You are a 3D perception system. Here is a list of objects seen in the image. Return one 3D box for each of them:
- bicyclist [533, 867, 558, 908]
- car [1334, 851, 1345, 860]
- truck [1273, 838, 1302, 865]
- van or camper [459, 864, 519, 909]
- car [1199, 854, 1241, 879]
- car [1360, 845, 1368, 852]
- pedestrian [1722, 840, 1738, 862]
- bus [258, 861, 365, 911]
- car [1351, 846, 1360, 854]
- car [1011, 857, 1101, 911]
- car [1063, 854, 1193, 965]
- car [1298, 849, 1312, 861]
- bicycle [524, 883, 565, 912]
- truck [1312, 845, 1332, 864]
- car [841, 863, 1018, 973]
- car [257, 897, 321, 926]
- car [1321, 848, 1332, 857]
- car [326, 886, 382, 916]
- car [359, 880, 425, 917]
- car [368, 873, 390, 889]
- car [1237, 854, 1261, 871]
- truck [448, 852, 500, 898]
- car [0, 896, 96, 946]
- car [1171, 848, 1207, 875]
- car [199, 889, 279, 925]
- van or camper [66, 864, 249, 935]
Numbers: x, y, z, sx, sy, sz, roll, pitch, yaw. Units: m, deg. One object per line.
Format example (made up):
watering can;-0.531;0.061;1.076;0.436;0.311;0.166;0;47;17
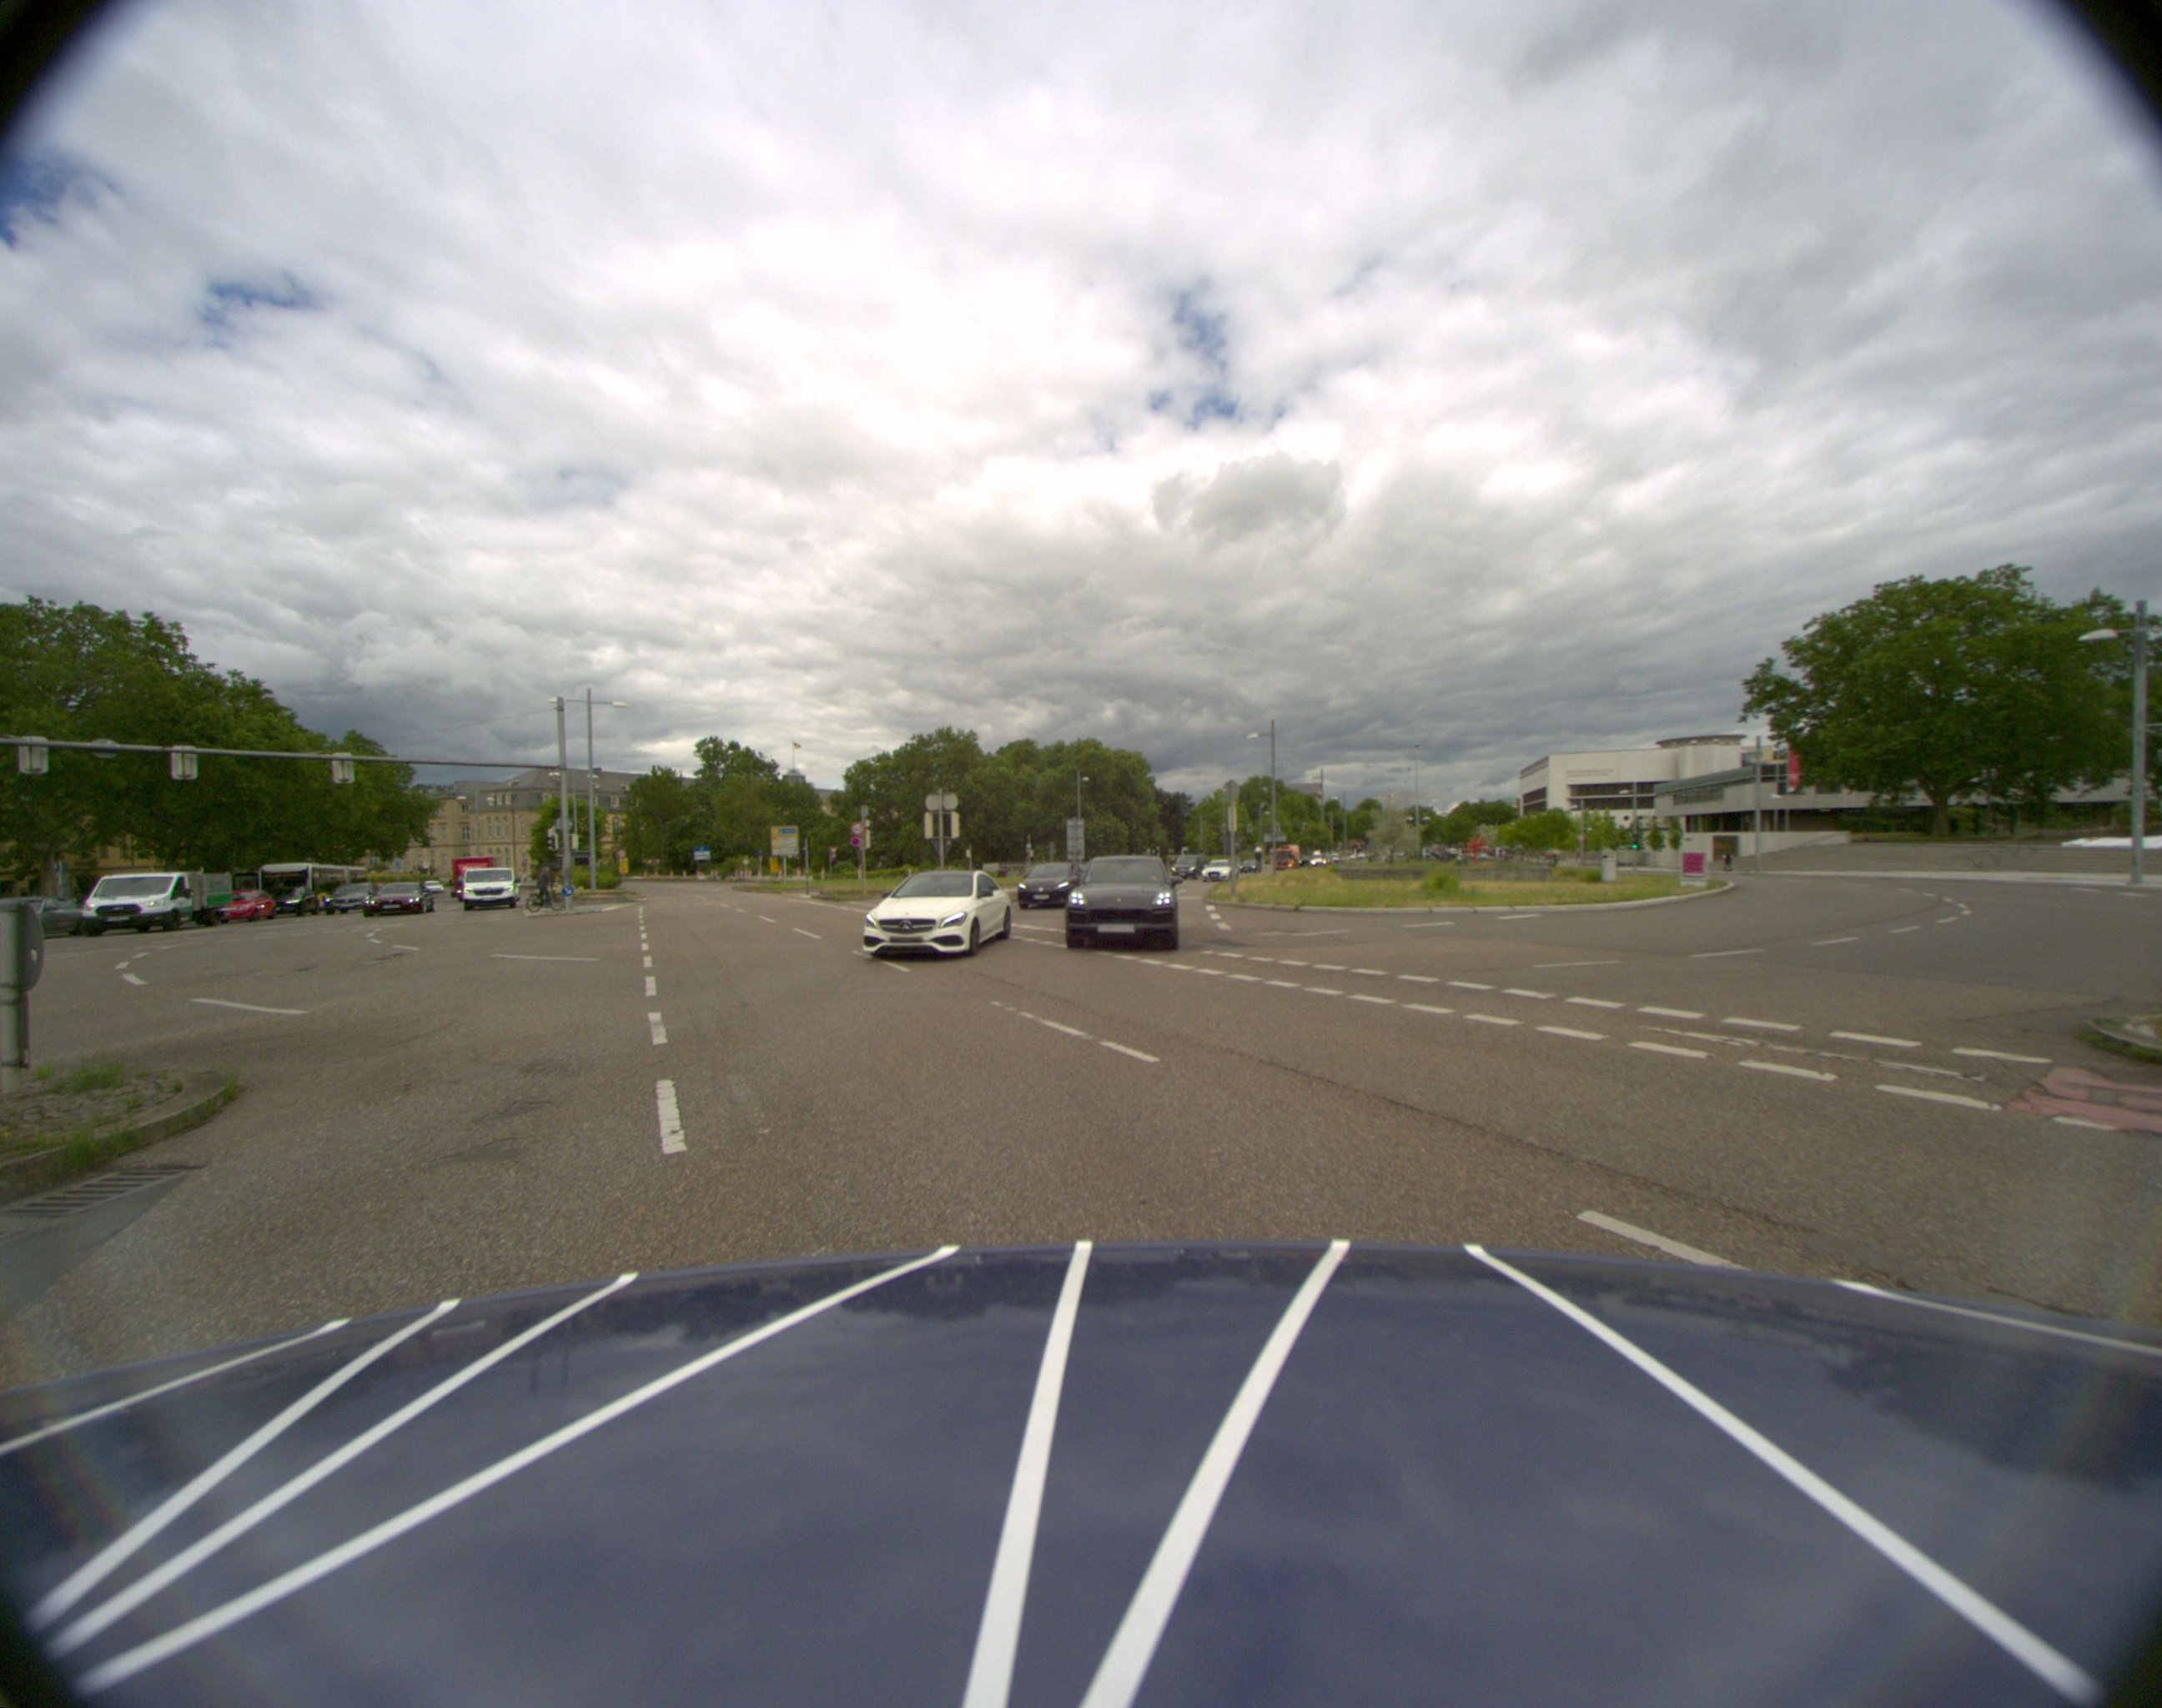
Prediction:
bicyclist;-21.808;1.344;30.953;0.505;1.630;0.721;-2;1;-4
car;56.215;0.302;165.162;1.779;1.835;3.805;-1;1;26
truck;28.599;-0.407;105.027;2.722;3.595;9.192;-1;0;22
van or camper;-27.691;1.446;35.680;1.869;1.905;4.702;-2;1;-34
car;9.651;0.819;52.397;2.092;1.600;4.418;0;1;21
car;82.079;-1.539;220.446;1.779;1.835;3.805;-1;1;26
pedestrian;52.085;-0.212;60.976;0.682;1.738;0.892;-1;1;18
bus;-56.271;2.174;55.977;3.441;3.185;13.028;-2;1;-37
car;72.648;-1.098;200.868;1.779;1.835;3.805;-1;1;26
car;-0.756;0.963;26.353;1.997;1.537;4.572;-1;1;12
car;0.963;0.896;14.635;2.004;1.629;5.022;-3;1;5
car;36.218;0.098;122.779;1.780;1.897;3.805;-1;0;23
bicycle;-21.822;1.762;30.936;0.505;1.066;1.728;-2;1;-4
truck;36.454;0.068;114.777;1.952;2.767;5.799;-1;1;27
car;-2.488;0.999;13.806;1.869;1.560;4.653;-1;1;5
car;-41.549;2.997;39.955;1.626;1.228;3.231;-2;1;-34
car;48.269;-0.300;149.180;1.780;1.835;3.804;-1;0;23
car;-39.174;2.518;41.026;1.608;1.370;3.990;-2;1;-35
car;-30.125;1.898;33.318;1.744;1.392;3.701;-2;1;-36
car;-94.693;3.560;102.422;2.004;2.002;3.989;-3;1;-44
car;18.102;0.893;81.786;1.856;1.729;3.745;-1;0;21
truck;-50.472;1.668;63.353;2.797;3.469;8.328;-2;1;-35
car;-35.880;2.249;25.778;1.832;1.401;3.990;-2;1;-35
car;8.474;0.533;59.220;1.856;1.976;4.648;0;1;20
car;-37.344;2.299;33.772;1.618;1.347;3.476;-2;1;-35
van or camper;-34.074;1.551;28.358;2.379;2.249;6.272;-2;0;-32
